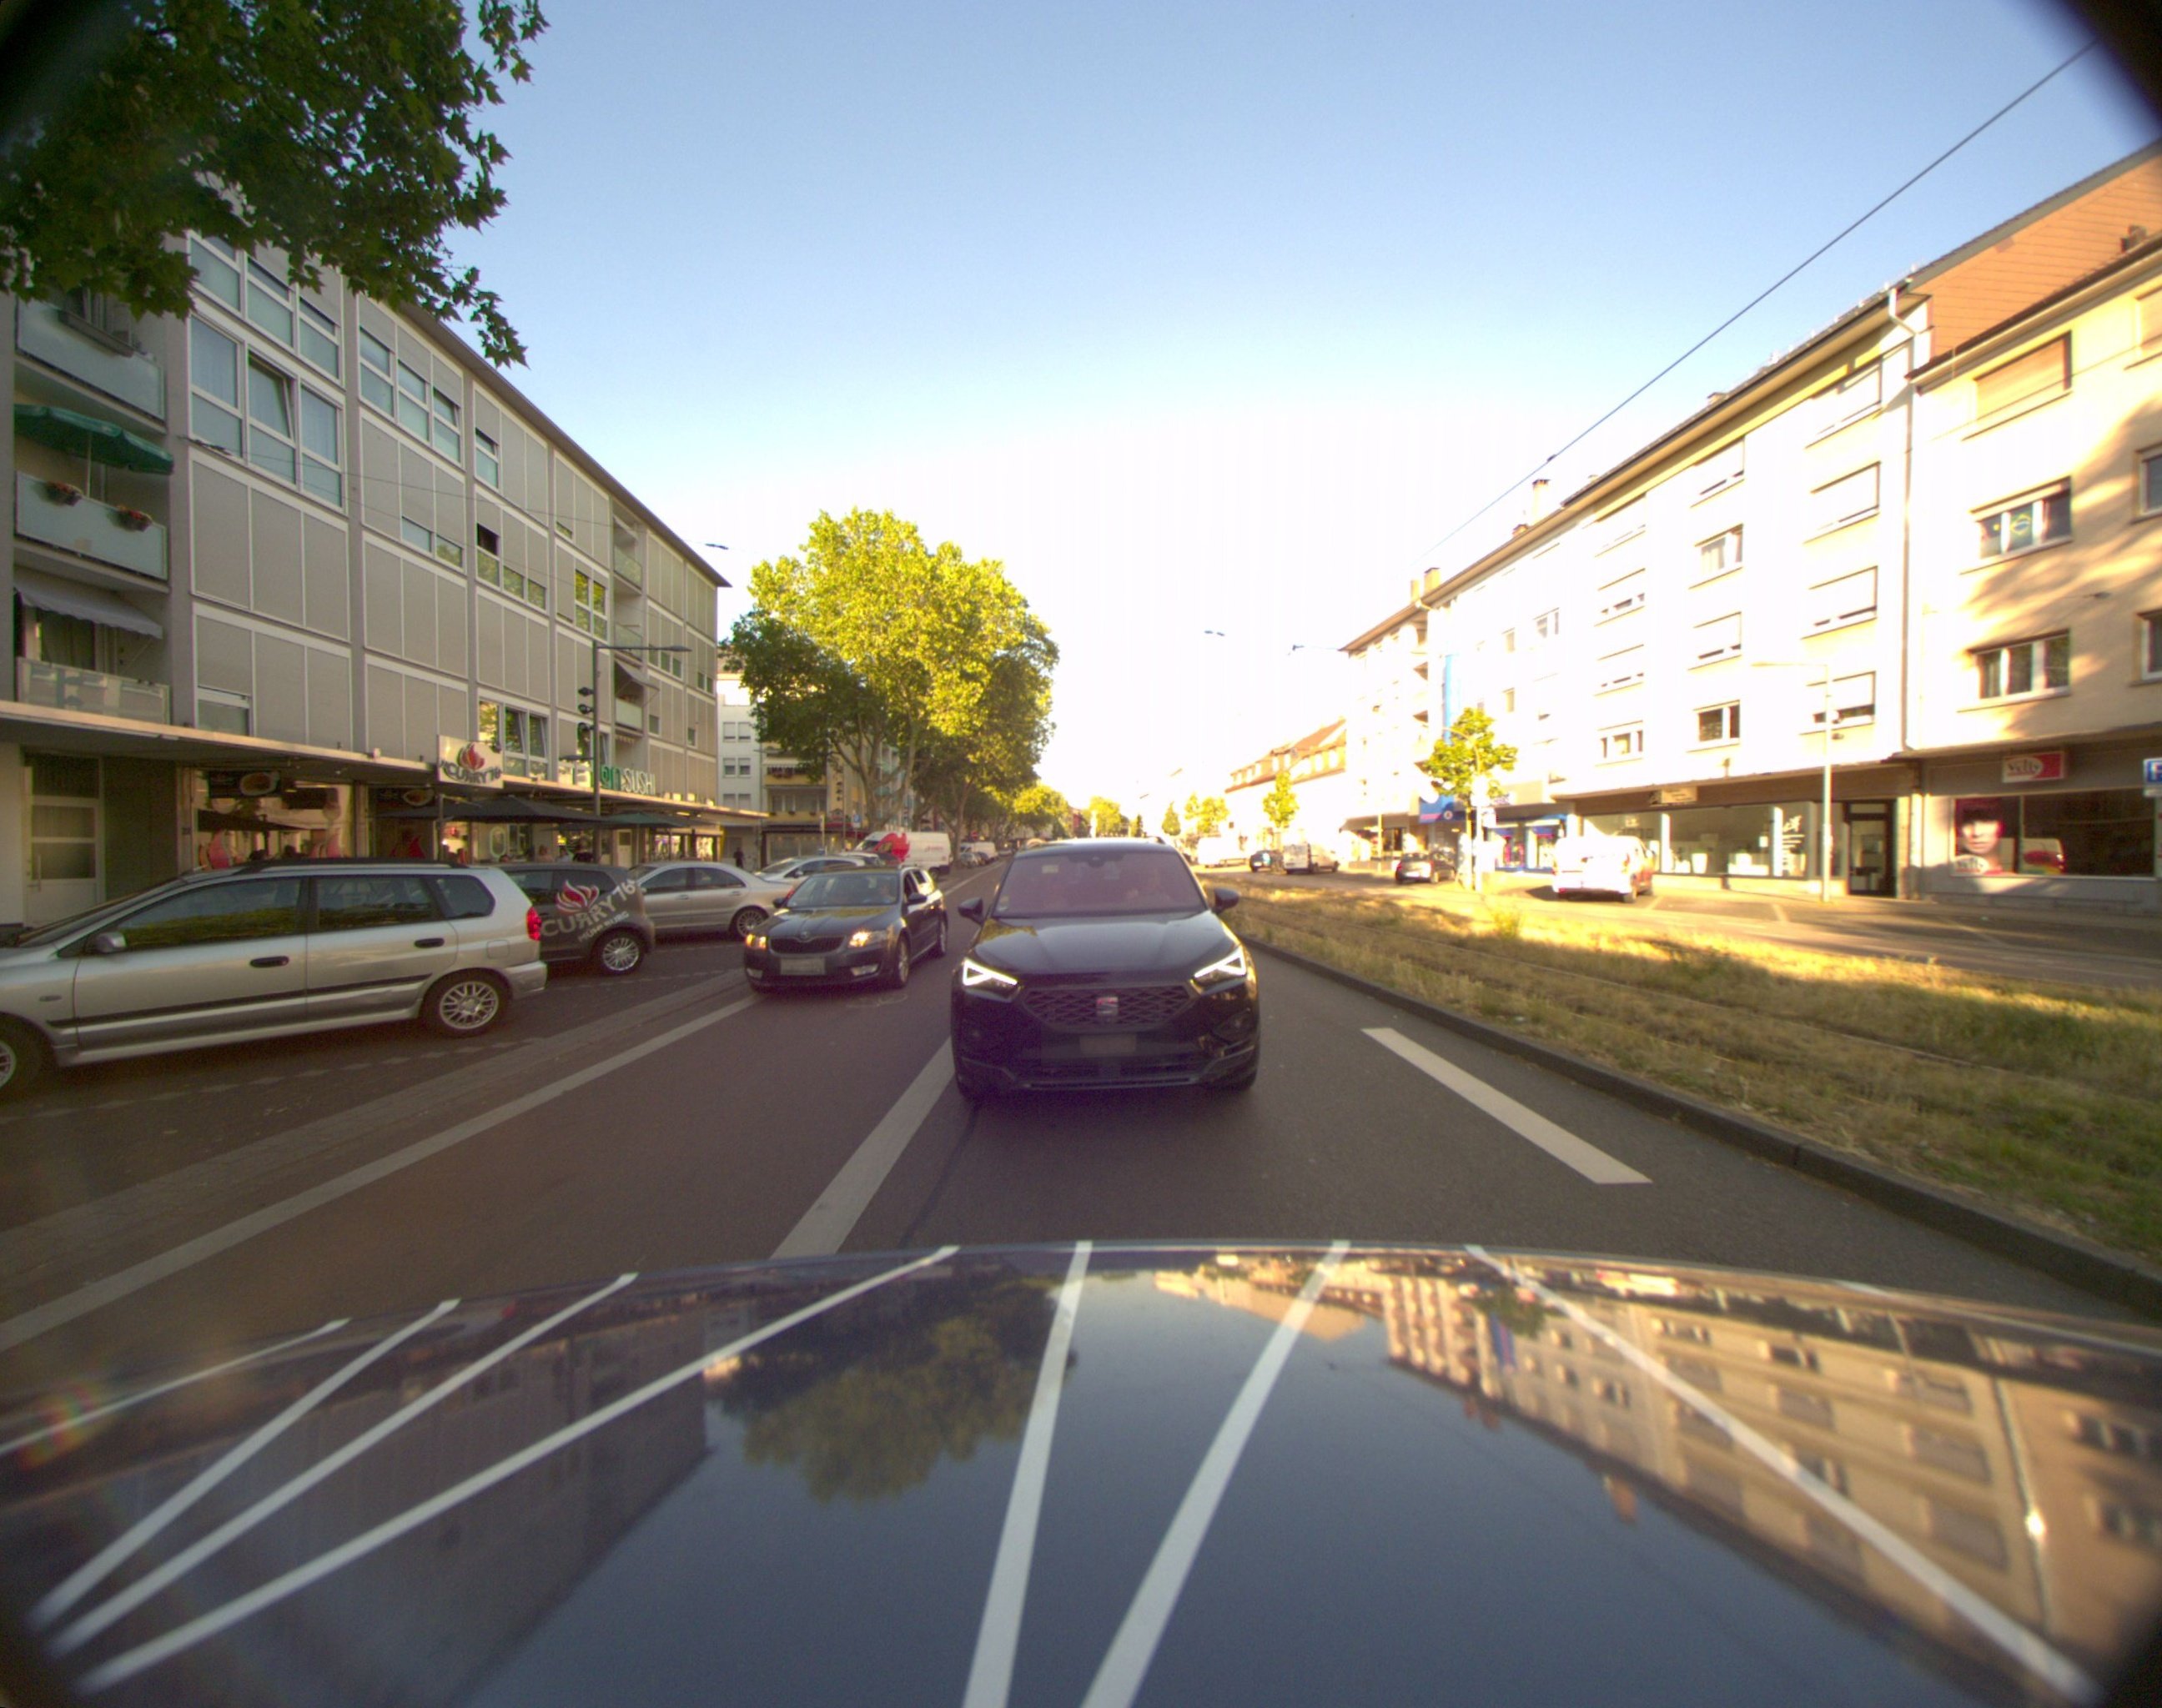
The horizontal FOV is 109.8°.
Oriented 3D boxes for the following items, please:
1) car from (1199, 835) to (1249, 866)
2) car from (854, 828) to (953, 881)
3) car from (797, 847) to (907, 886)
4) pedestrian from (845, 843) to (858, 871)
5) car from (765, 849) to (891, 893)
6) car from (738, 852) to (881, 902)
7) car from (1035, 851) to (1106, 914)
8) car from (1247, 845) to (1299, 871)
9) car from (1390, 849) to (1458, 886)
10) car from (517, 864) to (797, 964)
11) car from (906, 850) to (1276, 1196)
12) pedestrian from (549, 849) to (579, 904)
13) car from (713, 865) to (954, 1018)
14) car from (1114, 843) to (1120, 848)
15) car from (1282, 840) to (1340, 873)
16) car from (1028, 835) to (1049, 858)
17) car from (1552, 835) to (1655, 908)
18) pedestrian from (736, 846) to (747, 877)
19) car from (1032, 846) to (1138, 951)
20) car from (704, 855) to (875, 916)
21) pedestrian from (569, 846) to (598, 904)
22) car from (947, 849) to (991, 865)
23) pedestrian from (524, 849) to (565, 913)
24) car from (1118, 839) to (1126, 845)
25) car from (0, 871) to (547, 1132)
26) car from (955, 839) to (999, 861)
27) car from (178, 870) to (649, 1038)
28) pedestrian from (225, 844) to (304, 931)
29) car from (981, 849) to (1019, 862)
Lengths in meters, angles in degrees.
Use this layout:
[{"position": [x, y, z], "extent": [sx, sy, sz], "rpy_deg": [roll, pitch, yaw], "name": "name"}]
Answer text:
[{"position": [12.974, -0.363, 68.647], "extent": [1.922, 2.599, 6.601], "rpy_deg": [-1, 1, 34], "name": "car"}, {"position": [-8.772, 0.053, 37.807], "extent": [4.606, 2.479, 1.672], "rpy_deg": [0, -1, -44], "name": "car"}, {"position": [-9.194, 0.497, 30.578], "extent": [3.948, 1.421, 1.672], "rpy_deg": [2, 2, -29], "name": "car"}, {"position": [-16.562, 0.182, 54.852], "extent": [0.748, 2.002, 0.764], "rpy_deg": [0, 1, -4], "name": "pedestrian"}, {"position": [-9.060, 0.625, 27.276], "extent": [3.948, 1.421, 1.672], "rpy_deg": [2, 2, -32], "name": "car"}, {"position": [-8.567, 0.713, 24.042], "extent": [3.949, 1.420, 1.672], "rpy_deg": [1, 1, -34], "name": "car"}, {"position": [-0.287, 0.709, 21.064], "extent": [1.729, 1.467, 3.999], "rpy_deg": [-2, 1, -1], "name": "car"}, {"position": [13.792, 0.243, 54.526], "extent": [3.922, 1.704, 1.853], "rpy_deg": [-2, 1, -45], "name": "car"}, {"position": [15.412, 0.575, 34.032], "extent": [1.731, 1.489, 4.008], "rpy_deg": [-1, 1, 40], "name": "car"}, {"position": [-7.218, 0.916, 13.242], "extent": [1.592, 1.393, 3.950], "rpy_deg": [2, 1, 41], "name": "car"}, {"position": [0.076, 0.837, 5.792], "extent": [1.785, 1.639, 3.999], "rpy_deg": [-2, 1, 1], "name": "car"}, {"position": [-15.321, 0.659, 22.506], "extent": [0.537, 1.630, 0.478], "rpy_deg": [0, 1, -4], "name": "pedestrian"}, {"position": [-2.957, 0.953, 10.108], "extent": [1.728, 1.443, 4.228], "rpy_deg": [-2, 1, 0], "name": "car"}, {"position": [10.534, -2.537, 221.186], "extent": [1.845, 1.571, 4.450], "rpy_deg": [0, 1, 2], "name": "car"}, {"position": [14.525, 0.110, 47.846], "extent": [1.853, 1.927, 4.513], "rpy_deg": [-1, 1, 40], "name": "car"}, {"position": [-5.990, -1.102, 107.474], "extent": [2.660, 2.989, 7.131], "rpy_deg": [-2, 1, -2], "name": "car"}, {"position": [15.590, 0.458, 22.580], "extent": [1.853, 1.888, 4.007], "rpy_deg": [-1, 2, 44], "name": "car"}, {"position": [-18.998, 0.432, 42.532], "extent": [0.481, 1.720, 0.347], "rpy_deg": [-1, 1, -38], "name": "pedestrian"}, {"position": [0.043, 0.704, 14.303], "extent": [1.646, 1.646, 3.999], "rpy_deg": [-2, 1, -1], "name": "car"}, {"position": [-7.721, 0.796, 20.347], "extent": [3.950, 1.420, 1.555], "rpy_deg": [1, 1, -45], "name": "car"}, {"position": [-14.771, 0.624, 22.553], "extent": [0.545, 1.710, 0.457], "rpy_deg": [0, 1, -4], "name": "pedestrian"}, {"position": [-10.753, 0.274, 72.947], "extent": [1.778, 1.396, 3.943], "rpy_deg": [1, 1, 44], "name": "car"}, {"position": [-13.456, 0.660, 19.071], "extent": [0.561, 1.567, 0.642], "rpy_deg": [0, 1, -5], "name": "pedestrian"}, {"position": [12.770, -3.752, 236.329], "extent": [1.999, 1.783, 3.998], "rpy_deg": [0, 1, -4], "name": "car"}, {"position": [-6.873, 0.967, 6.025], "extent": [1.672, 1.533, 3.993], "rpy_deg": [2, 1, 38], "name": "car"}, {"position": [-11.589, -0.456, 85.070], "extent": [1.973, 2.454, 4.605], "rpy_deg": [1, 1, 44], "name": "car"}, {"position": [-7.595, 0.958, 9.008], "extent": [1.672, 1.420, 3.950], "rpy_deg": [2, 1, 38], "name": "car"}, {"position": [-15.170, 0.606, 14.134], "extent": [0.583, 1.573, 0.771], "rpy_deg": [0, 1, 2], "name": "pedestrian"}, {"position": [-8.780, 0.160, 82.494], "extent": [1.778, 1.326, 3.943], "rpy_deg": [1, 1, 44], "name": "car"}]
